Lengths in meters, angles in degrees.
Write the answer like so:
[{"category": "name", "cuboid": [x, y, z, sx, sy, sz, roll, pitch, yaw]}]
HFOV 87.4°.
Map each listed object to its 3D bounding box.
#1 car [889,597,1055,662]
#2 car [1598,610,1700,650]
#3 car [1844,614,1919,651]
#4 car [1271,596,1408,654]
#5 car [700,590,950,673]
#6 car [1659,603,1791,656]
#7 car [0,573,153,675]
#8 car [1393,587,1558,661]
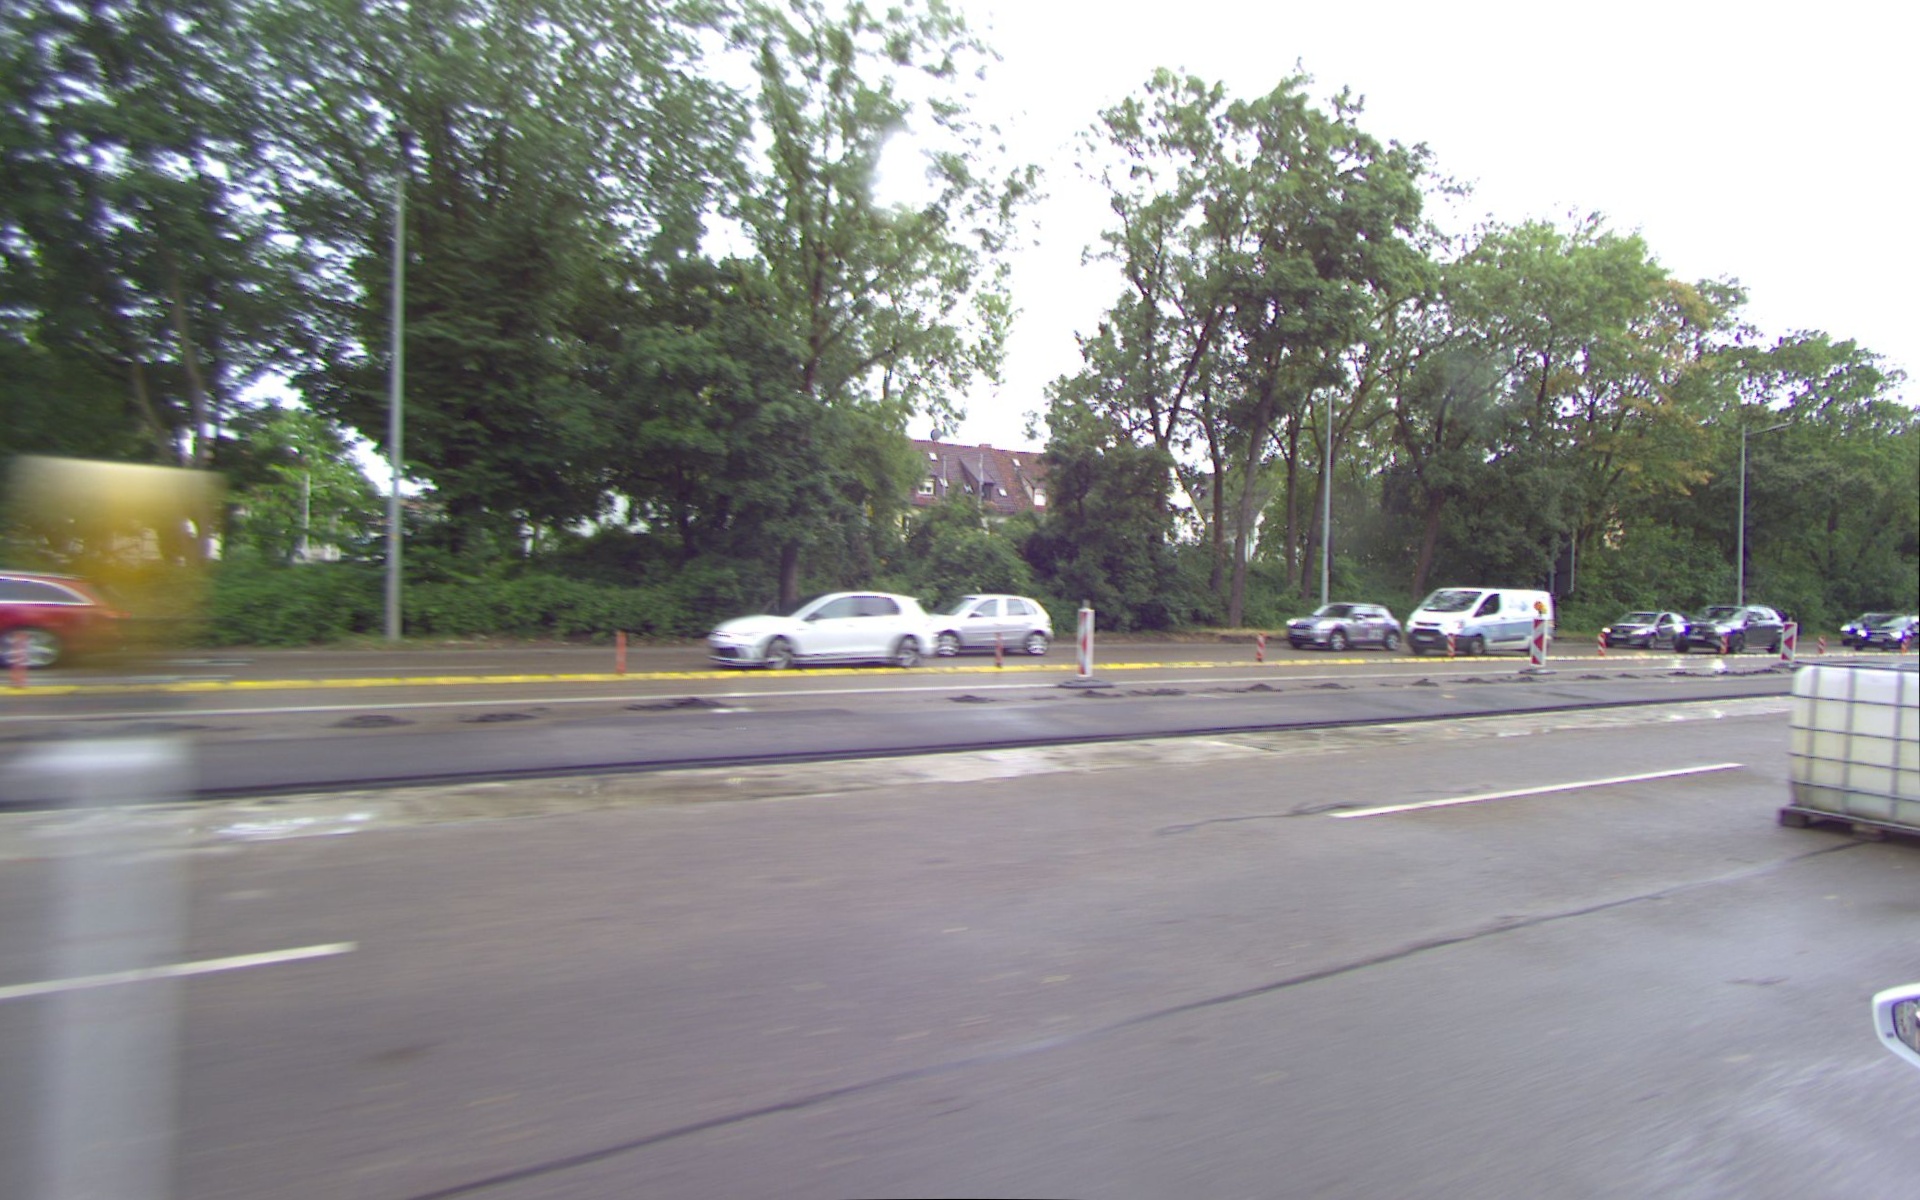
[{"category": "car", "cuboid": [0.296, 0.681, 23.932, 3.595, 1.419, 1.672, 1, 1, -29]}, {"category": "car", "cuboid": [26.805, 1.175, 39.053, 3.951, 1.439, 1.638, 1, 1, -29]}, {"category": "car", "cuboid": [40.394, 1.403, 43.621, 4.147, 1.507, 1.768, 1, 1, -30]}, {"category": "car", "cuboid": [11.651, 0.770, 30.781, 3.953, 1.643, 1.818, 1, 1, -30]}, {"category": "car", "cuboid": [-2.570, 0.599, 19.327, 4.342, 1.434, 1.984, 1, -1, -31]}, {"category": "car", "cuboid": [27.947, 1.058, 36.670, 4.951, 1.749, 2.012, 1, 1, -29]}, {"category": "car", "cuboid": [-15.113, 0.336, 15.085, 4.436, 1.496, 1.720, 1, 0, -31]}, {"category": "car", "cuboid": [15.116, 0.685, 29.404, 4.845, 1.998, 1.984, 1, 1, -30]}]
